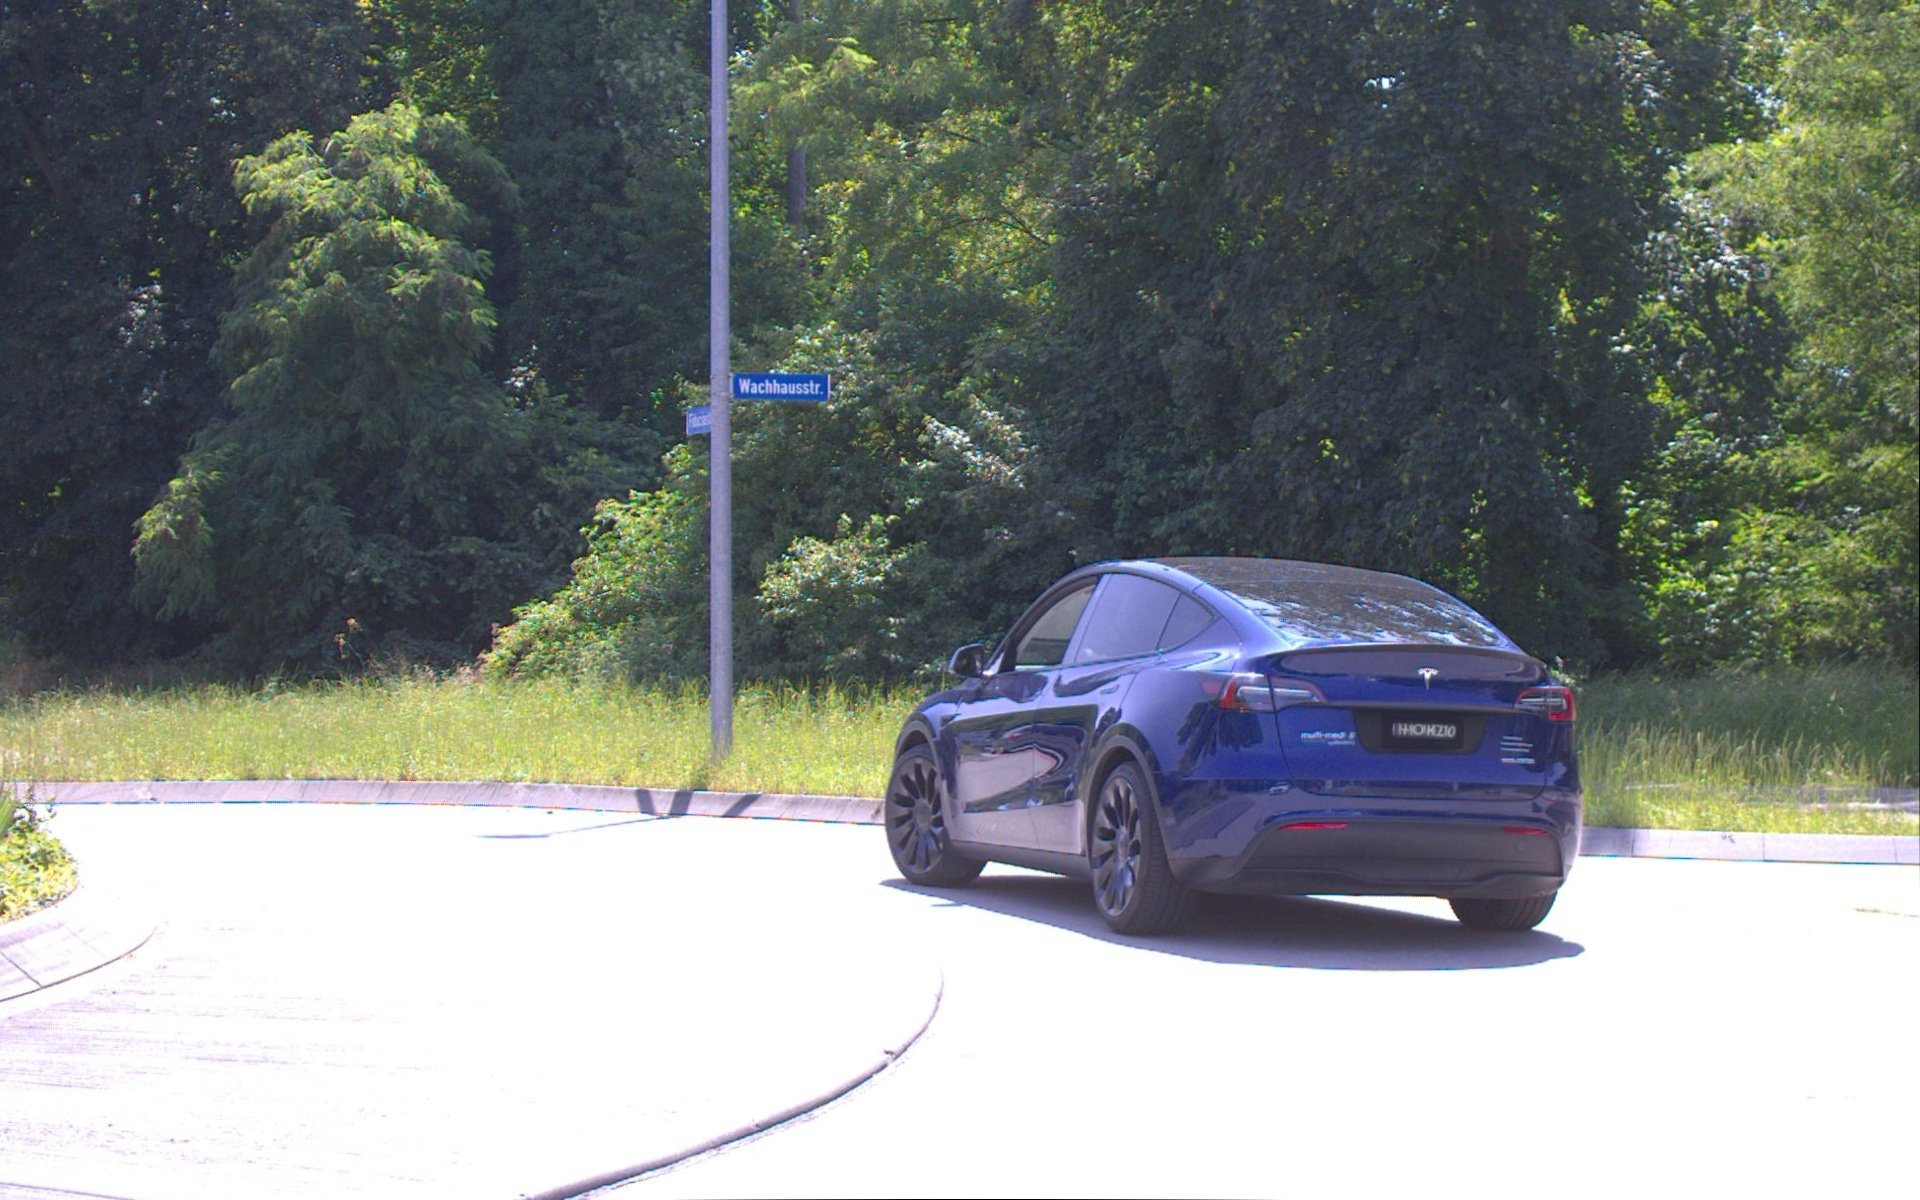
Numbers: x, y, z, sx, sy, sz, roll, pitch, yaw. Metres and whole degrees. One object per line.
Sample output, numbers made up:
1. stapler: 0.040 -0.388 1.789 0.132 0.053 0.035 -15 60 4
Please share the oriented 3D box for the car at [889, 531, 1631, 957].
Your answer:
1. car: 1.145 0.554 15.713 1.993 1.634 4.758 0 0 -13
